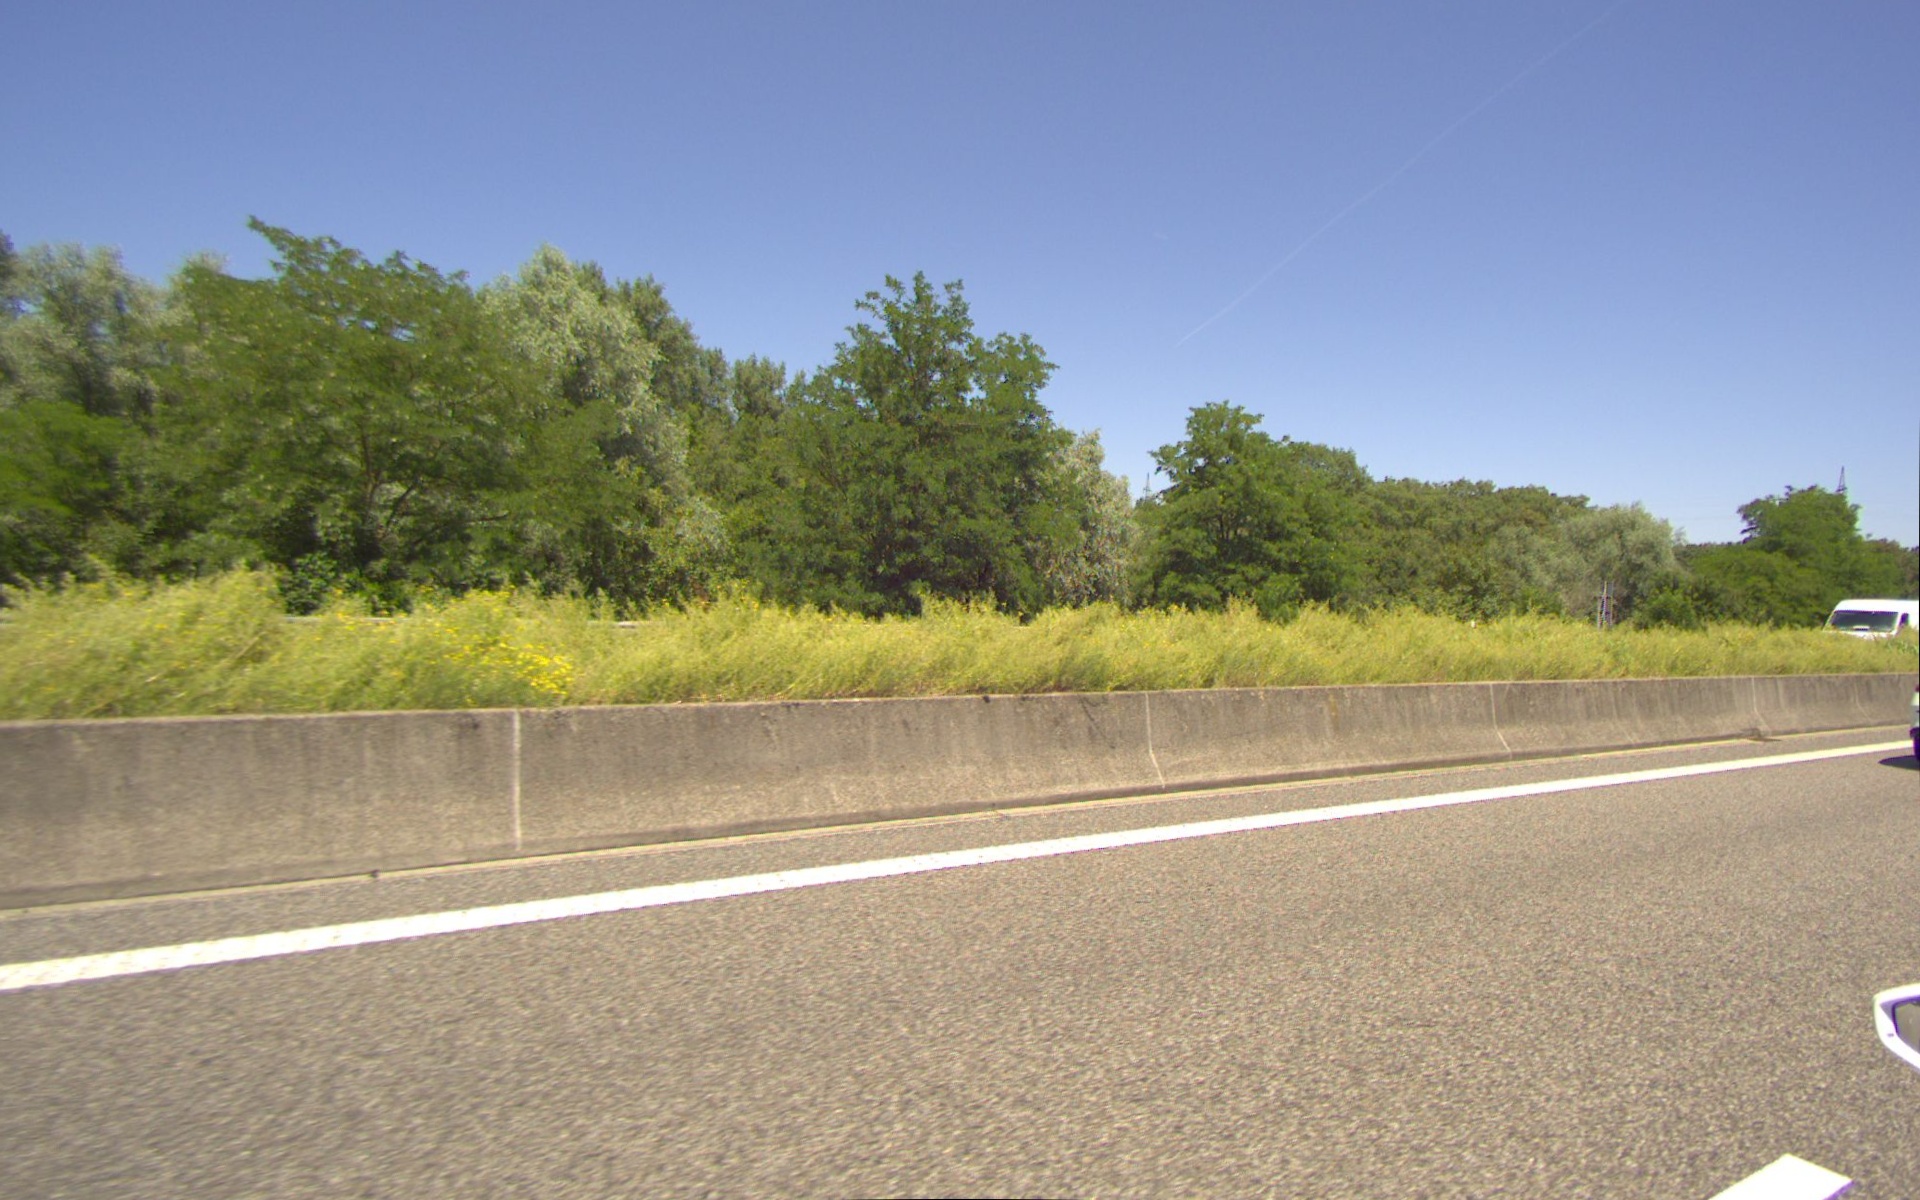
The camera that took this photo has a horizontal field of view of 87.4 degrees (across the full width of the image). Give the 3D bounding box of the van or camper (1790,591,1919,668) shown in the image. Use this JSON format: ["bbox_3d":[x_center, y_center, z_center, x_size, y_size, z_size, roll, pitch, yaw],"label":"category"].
[{"bbox_3d":[30.996,1.001,34.009,6.679,2.419,2.240,2,0,-30],"label":"van or camper"}]

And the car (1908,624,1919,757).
[{"bbox_3d":[13.160,1.059,11.669,5.048,1.467,1.758,1,-1,-30],"label":"car"}]
